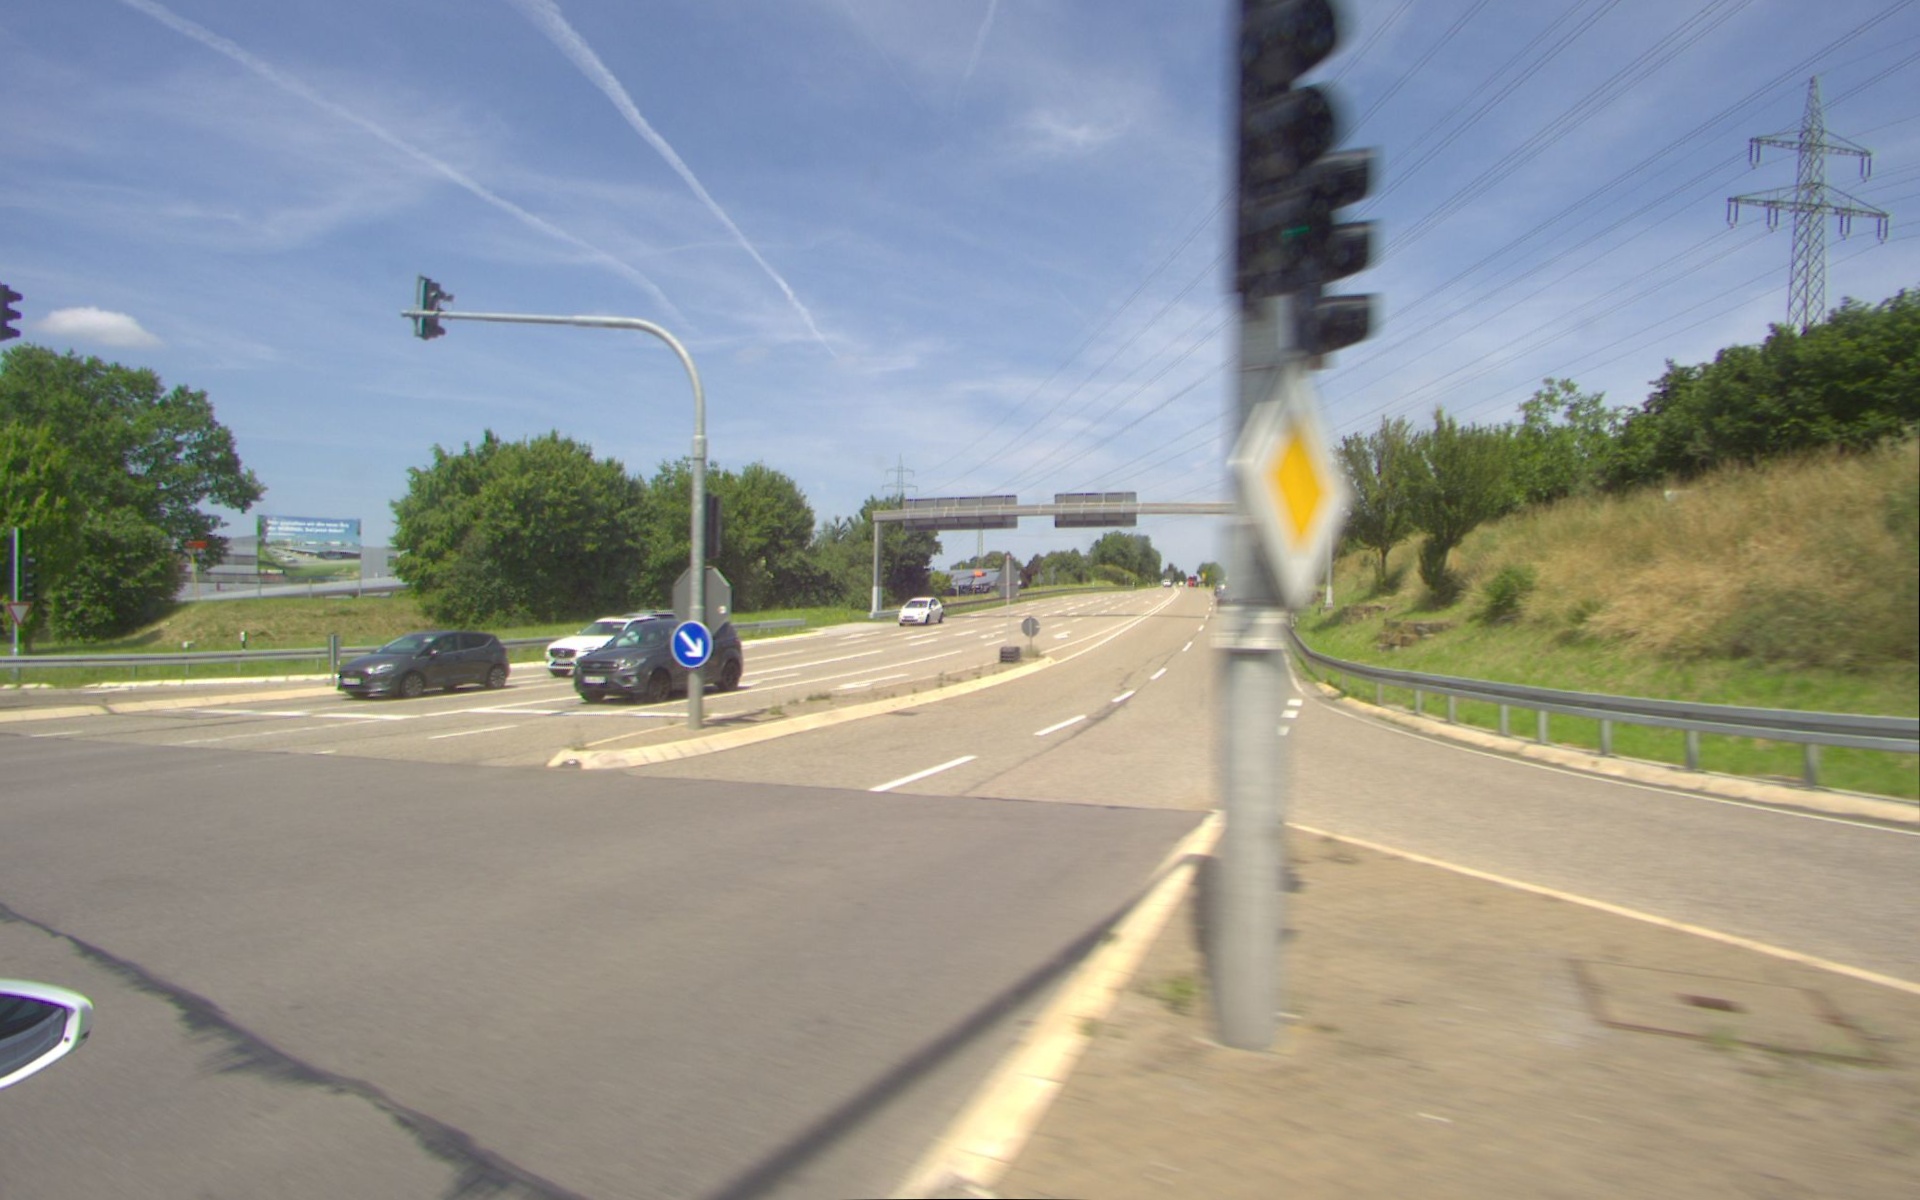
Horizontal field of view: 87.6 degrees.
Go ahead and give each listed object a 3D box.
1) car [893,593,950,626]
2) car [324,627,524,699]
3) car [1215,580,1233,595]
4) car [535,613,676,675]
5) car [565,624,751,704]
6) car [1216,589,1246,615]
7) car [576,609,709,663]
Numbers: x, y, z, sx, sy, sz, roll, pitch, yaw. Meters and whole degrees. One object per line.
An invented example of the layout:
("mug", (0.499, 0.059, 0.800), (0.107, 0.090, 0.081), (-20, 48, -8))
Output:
("car", (-2.126, 0.515, 56.285), (1.751, 1.622, 3.987), (1, 3, 22))
("car", (-12.425, 1.422, 23.496), (1.687, 1.530, 3.990), (-1, -2, 23))
("car", (28.369, -1.365, 107.623), (1.720, 1.554, 4.288), (1, 3, 17))
("car", (-10.515, 1.268, 30.069), (1.748, 1.613, 4.365), (-1, 0, 16))
("car", (-6.381, 1.312, 21.723), (1.686, 1.530, 4.366), (-1, -1, 18))
("car", (18.228, 0.102, 67.348), (1.720, 1.554, 4.288), (1, 3, 18))
("car", (-11.184, 1.235, 35.572), (1.810, 1.677, 4.349), (-2, 0, 32))
